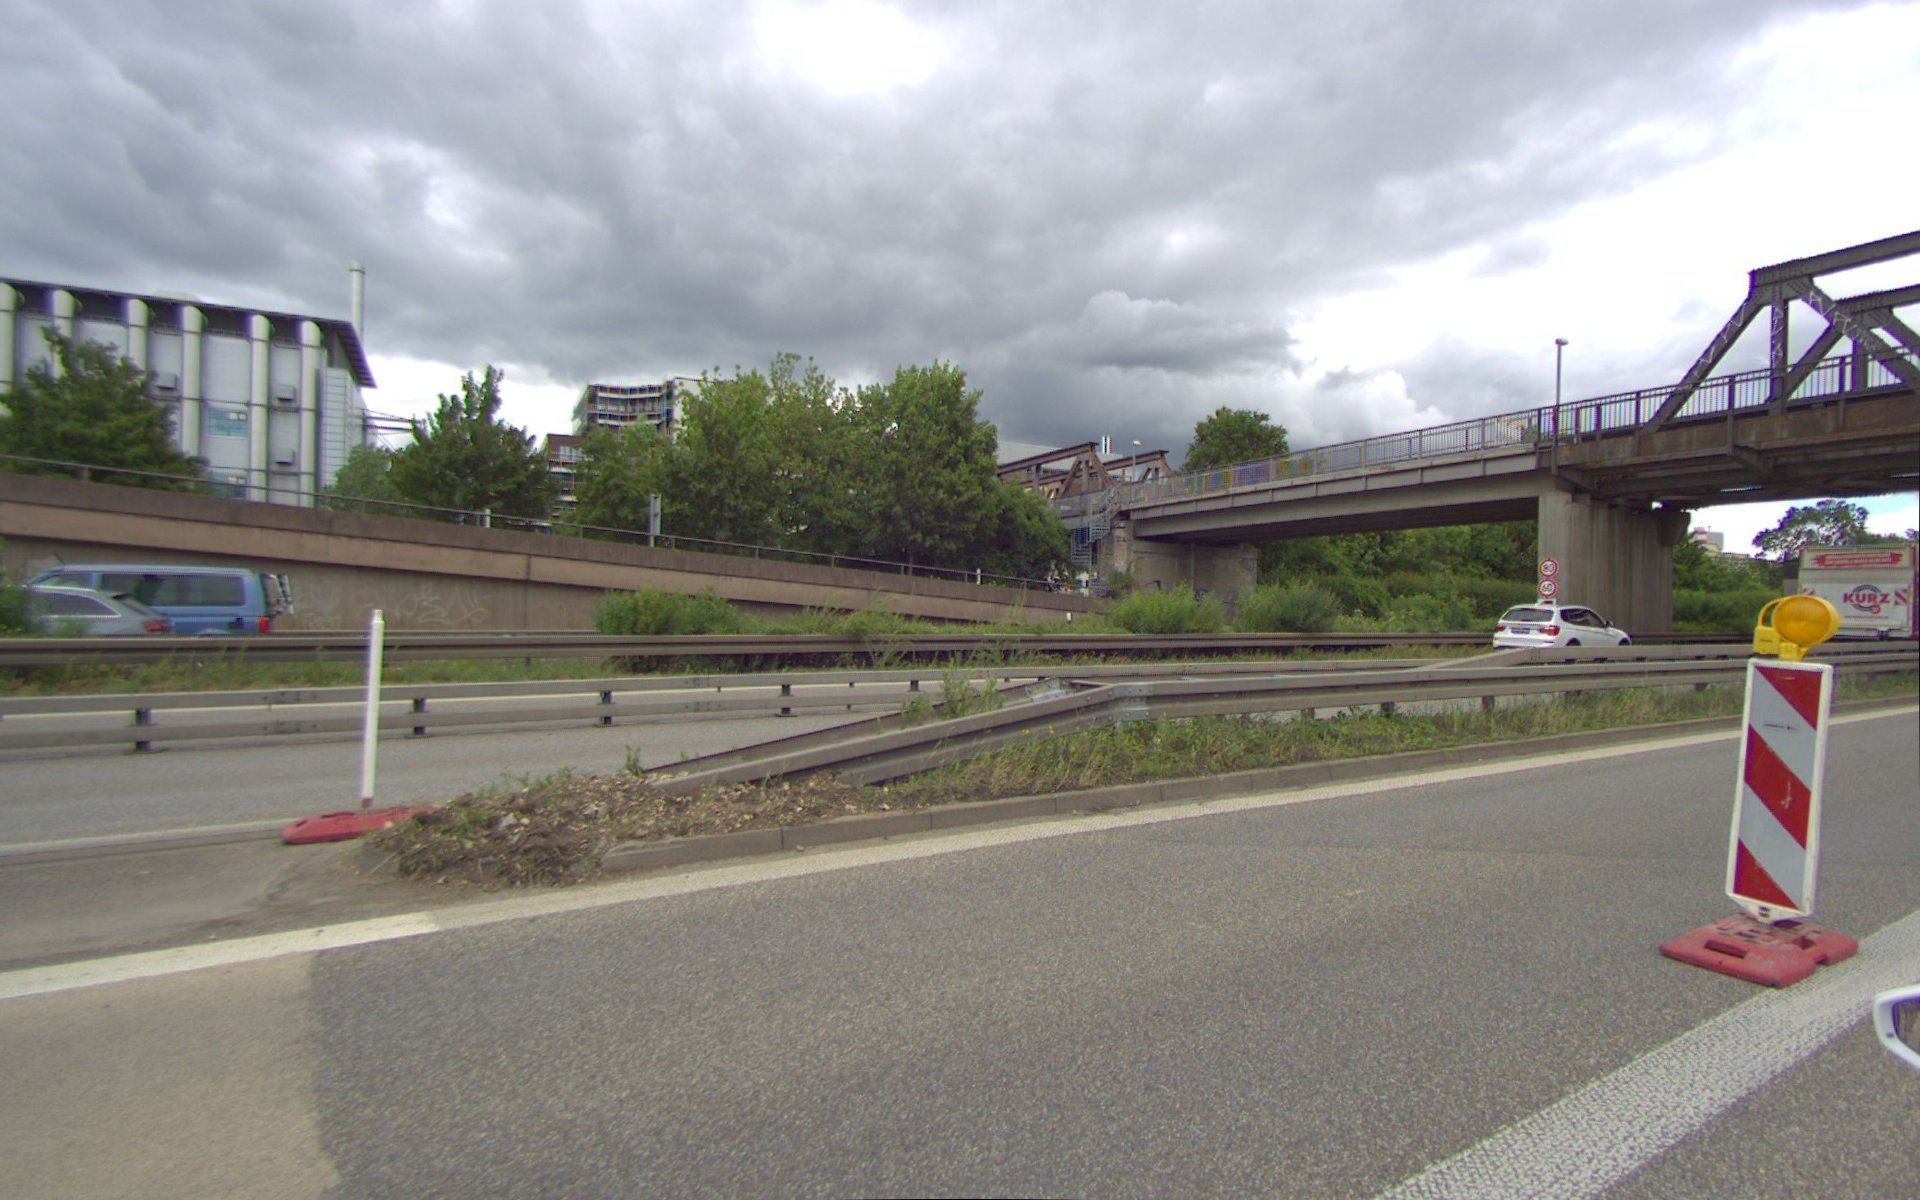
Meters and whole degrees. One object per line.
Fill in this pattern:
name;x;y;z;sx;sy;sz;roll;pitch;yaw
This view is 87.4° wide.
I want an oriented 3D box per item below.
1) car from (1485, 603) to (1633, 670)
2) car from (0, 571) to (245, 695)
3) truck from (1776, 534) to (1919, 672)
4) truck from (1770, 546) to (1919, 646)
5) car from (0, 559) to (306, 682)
car;16.259;0.961;27.207;4.248;1.662;1.842;2;0;-35
car;-13.349;0.465;15.226;3.957;1.728;1.982;1;0;-33
truck;28.661;0.111;30.744;10.048;3.678;2.935;0;0;-34
truck;34.971;-0.028;39.626;7.669;3.603;2.973;2;-2;-37
car;-14.716;0.370;18.668;4.240;2.040;1.982;1;0;-33
